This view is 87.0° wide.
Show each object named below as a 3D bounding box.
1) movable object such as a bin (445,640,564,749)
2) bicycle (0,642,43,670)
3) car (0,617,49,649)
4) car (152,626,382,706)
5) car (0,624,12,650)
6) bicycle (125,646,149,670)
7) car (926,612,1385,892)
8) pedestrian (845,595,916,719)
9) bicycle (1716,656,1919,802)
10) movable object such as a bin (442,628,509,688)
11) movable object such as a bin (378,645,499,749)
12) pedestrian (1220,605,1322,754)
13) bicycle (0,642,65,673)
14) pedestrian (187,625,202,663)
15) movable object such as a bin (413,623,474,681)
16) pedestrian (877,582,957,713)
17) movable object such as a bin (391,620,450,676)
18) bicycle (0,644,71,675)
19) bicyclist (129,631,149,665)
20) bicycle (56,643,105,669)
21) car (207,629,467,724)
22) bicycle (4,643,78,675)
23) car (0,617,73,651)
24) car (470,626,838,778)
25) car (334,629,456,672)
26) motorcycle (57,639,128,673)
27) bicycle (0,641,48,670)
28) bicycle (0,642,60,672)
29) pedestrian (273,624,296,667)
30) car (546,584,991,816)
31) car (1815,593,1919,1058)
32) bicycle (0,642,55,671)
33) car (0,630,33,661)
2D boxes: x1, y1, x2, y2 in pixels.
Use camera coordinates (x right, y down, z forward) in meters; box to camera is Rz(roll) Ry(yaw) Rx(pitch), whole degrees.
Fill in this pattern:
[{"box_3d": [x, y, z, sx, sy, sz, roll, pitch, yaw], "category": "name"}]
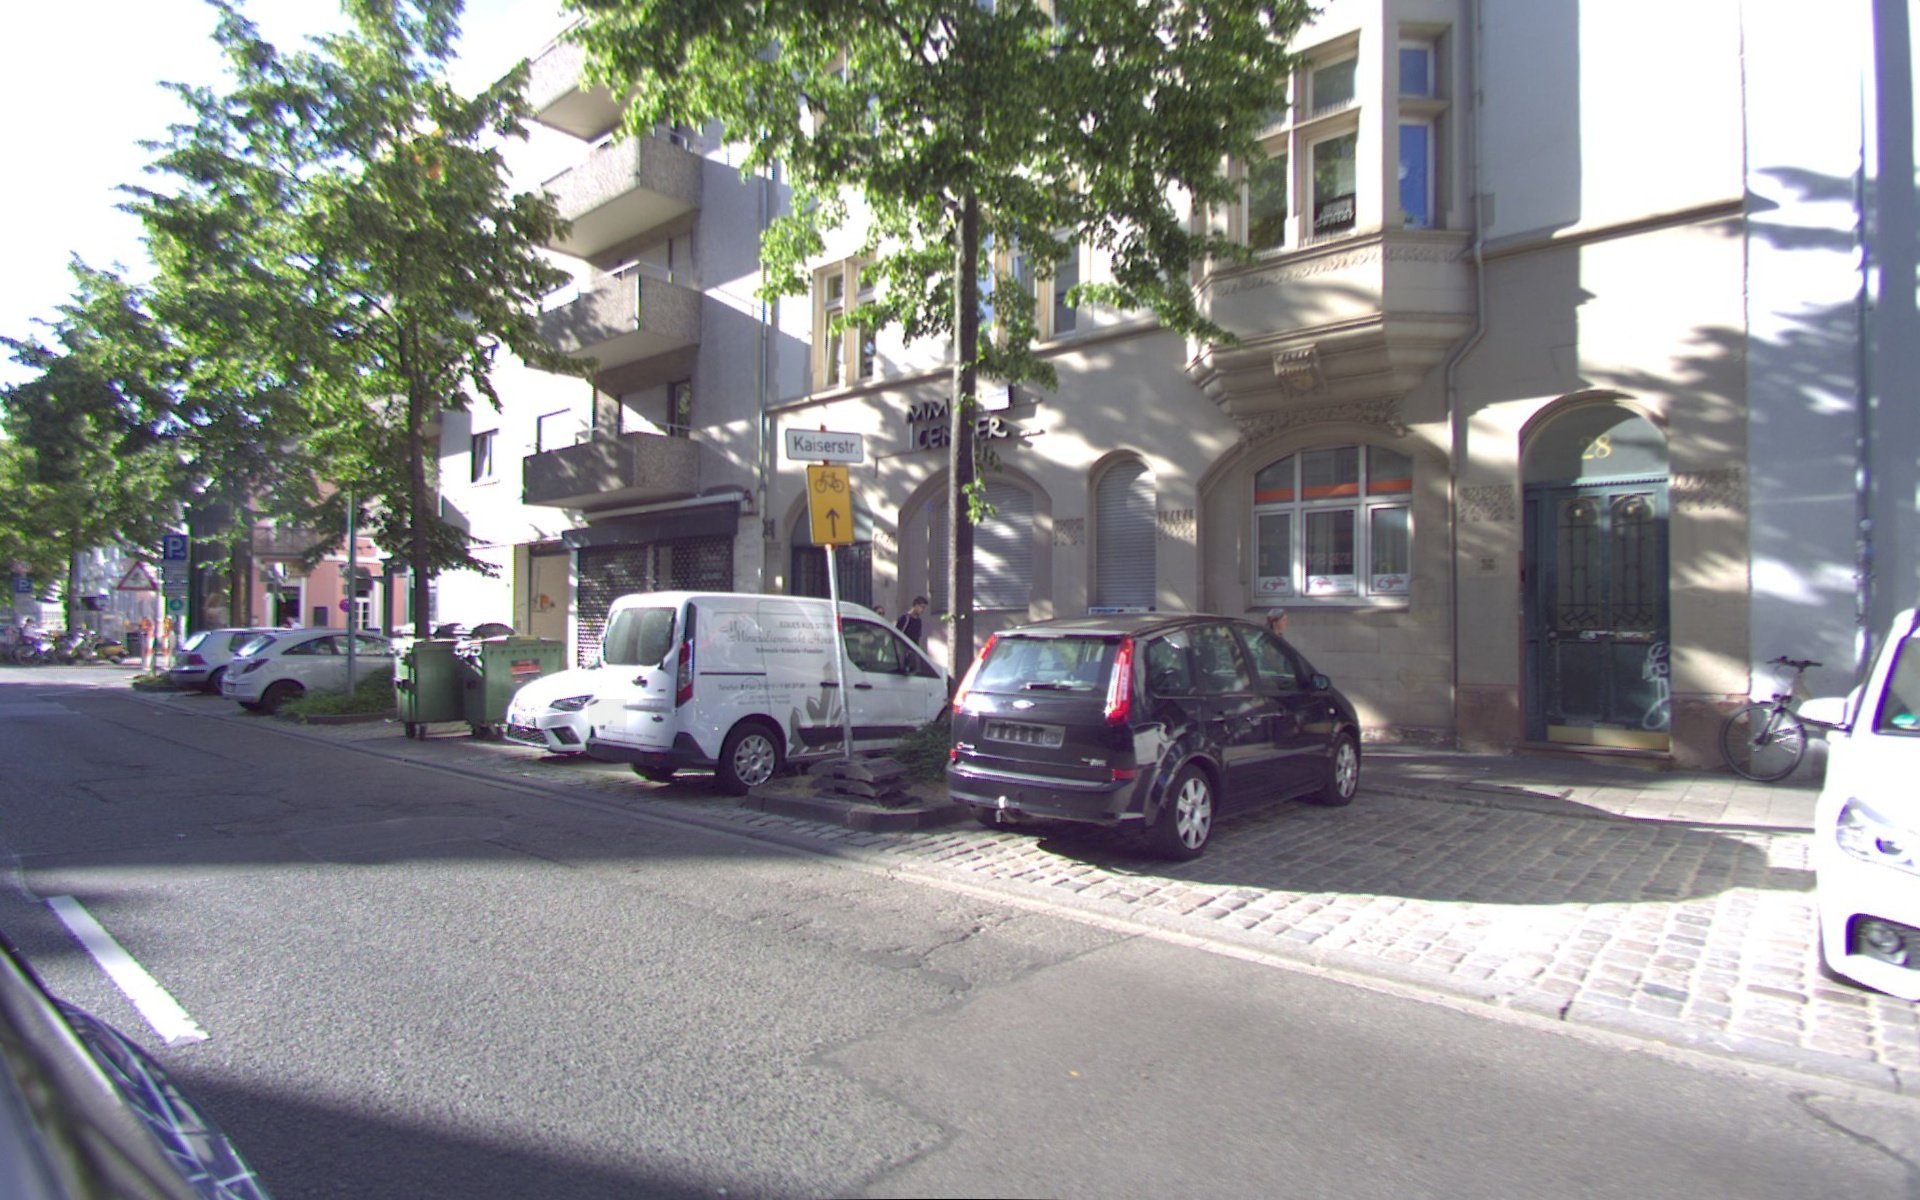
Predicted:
[{"box_3d": [-6.105, 1.226, 13.576, 0.931, 1.355, 1.180, -1, -2, 40], "category": "movable object such as a bin"}, {"box_3d": [-36.766, 2.173, 39.047, 0.471, 1.037, 1.987, -1, 0, 27], "category": "bicycle"}, {"box_3d": [-52.448, 1.799, 55.048, 1.998, 1.693, 4.083, -1, -1, 39], "category": "car"}, {"box_3d": [-15.465, 1.401, 22.746, 1.747, 1.475, 3.957, 1, 1, 40], "category": "car"}, {"box_3d": [-60.752, 2.292, 61.714, 1.910, 1.606, 4.083, -1, -1, 39], "category": "car"}, {"box_3d": [-38.513, 2.713, 47.353, 1.650, 1.096, 0.563, -3, -3, 41], "category": "bicycle"}, {"box_3d": [1.672, 0.887, 7.706, 1.791, 1.570, 3.760, -2, -2, 41], "category": "car"}, {"box_3d": [-1.102, 0.766, 13.991, 0.726, 1.638, 0.560, -1, 2, 39], "category": "pedestrian"}, {"box_3d": [7.549, 1.060, 8.532, 1.849, 1.116, 0.537, -1, 0, 39], "category": "bicycle"}, {"box_3d": [-11.982, 1.414, 25.023, 1.351, 1.426, 1.066, -2, -3, 42], "category": "movable object such as a bin"}, {"box_3d": [-7.107, 1.286, 13.821, 0.869, 1.312, 1.225, -1, -2, 40], "category": "movable object such as a bin"}, {"box_3d": [3.322, 0.821, 10.817, 0.842, 1.505, 0.586, -2, 0, 42], "category": "pedestrian"}, {"box_3d": [-35.071, 2.163, 38.134, 0.471, 1.037, 1.987, -1, 0, 27], "category": "bicycle"}, {"box_3d": [-36.159, 2.070, 47.802, 0.509, 1.740, 0.526, 1, -2, -32], "category": "pedestrian"}, {"box_3d": [-13.433, 1.331, 26.311, 1.258, 1.471, 1.022, -2, -3, 42], "category": "movable object such as a bin"}, {"box_3d": [-0.619, 0.662, 14.594, 0.762, 1.779, 0.767, -1, 2, 39], "category": "pedestrian"}, {"box_3d": [-14.600, 1.285, 27.402, 1.258, 1.471, 1.022, -2, -3, 42], "category": "movable object such as a bin"}, {"box_3d": [-34.629, 2.201, 37.901, 0.471, 1.037, 1.987, -1, 0, 27], "category": "bicycle"}, {"box_3d": [-38.181, 2.235, 47.078, 0.751, 1.515, 0.563, 1, -1, 40], "category": "bicyclist"}, {"box_3d": [-34.268, 2.173, 39.433, 1.493, 0.958, 0.360, -1, 0, -8], "category": "bicycle"}, {"box_3d": [-11.383, 1.324, 18.675, 1.708, 1.475, 3.742, -2, -1, 38], "category": "car"}, {"box_3d": [-34.162, 2.180, 37.638, 0.471, 1.037, 1.987, -1, 0, 27], "category": "bicycle"}, {"box_3d": [-48.174, 1.735, 51.701, 1.998, 1.693, 4.083, -1, -1, 39], "category": "car"}, {"box_3d": [-3.610, 1.101, 12.447, 1.886, 1.475, 3.938, -2, -1, 41], "category": "car"}, {"box_3d": [-20.526, 1.799, 36.935, 1.889, 1.488, 3.581, -1, -2, 18], "category": "car"}, {"box_3d": [-32.711, 2.106, 38.189, 0.740, 1.194, 1.977, -2, -1, 43], "category": "motorcycle"}, {"box_3d": [-36.322, 2.146, 38.809, 0.471, 1.037, 1.987, -1, 0, 27], "category": "bicycle"}, {"box_3d": [-35.504, 2.156, 38.388, 0.471, 1.037, 1.987, -1, 0, 27], "category": "bicycle"}, {"box_3d": [-27.582, 1.837, 41.336, 0.579, 1.740, 0.622, -2, -2, 38], "category": "pedestrian"}, {"box_3d": [-1.763, 0.820, 10.303, 2.037, 1.850, 4.063, -2, -1, 41], "category": "car"}, {"box_3d": [5.220, 0.773, 4.608, 1.945, 1.582, 4.321, -2, -2, 41], "category": "car"}, {"box_3d": [-35.886, 2.151, 38.591, 0.471, 1.037, 1.987, -1, 0, 27], "category": "bicycle"}, {"box_3d": [-54.571, 2.574, 56.381, 1.998, 1.693, 4.083, -1, -1, 39], "category": "car"}]
